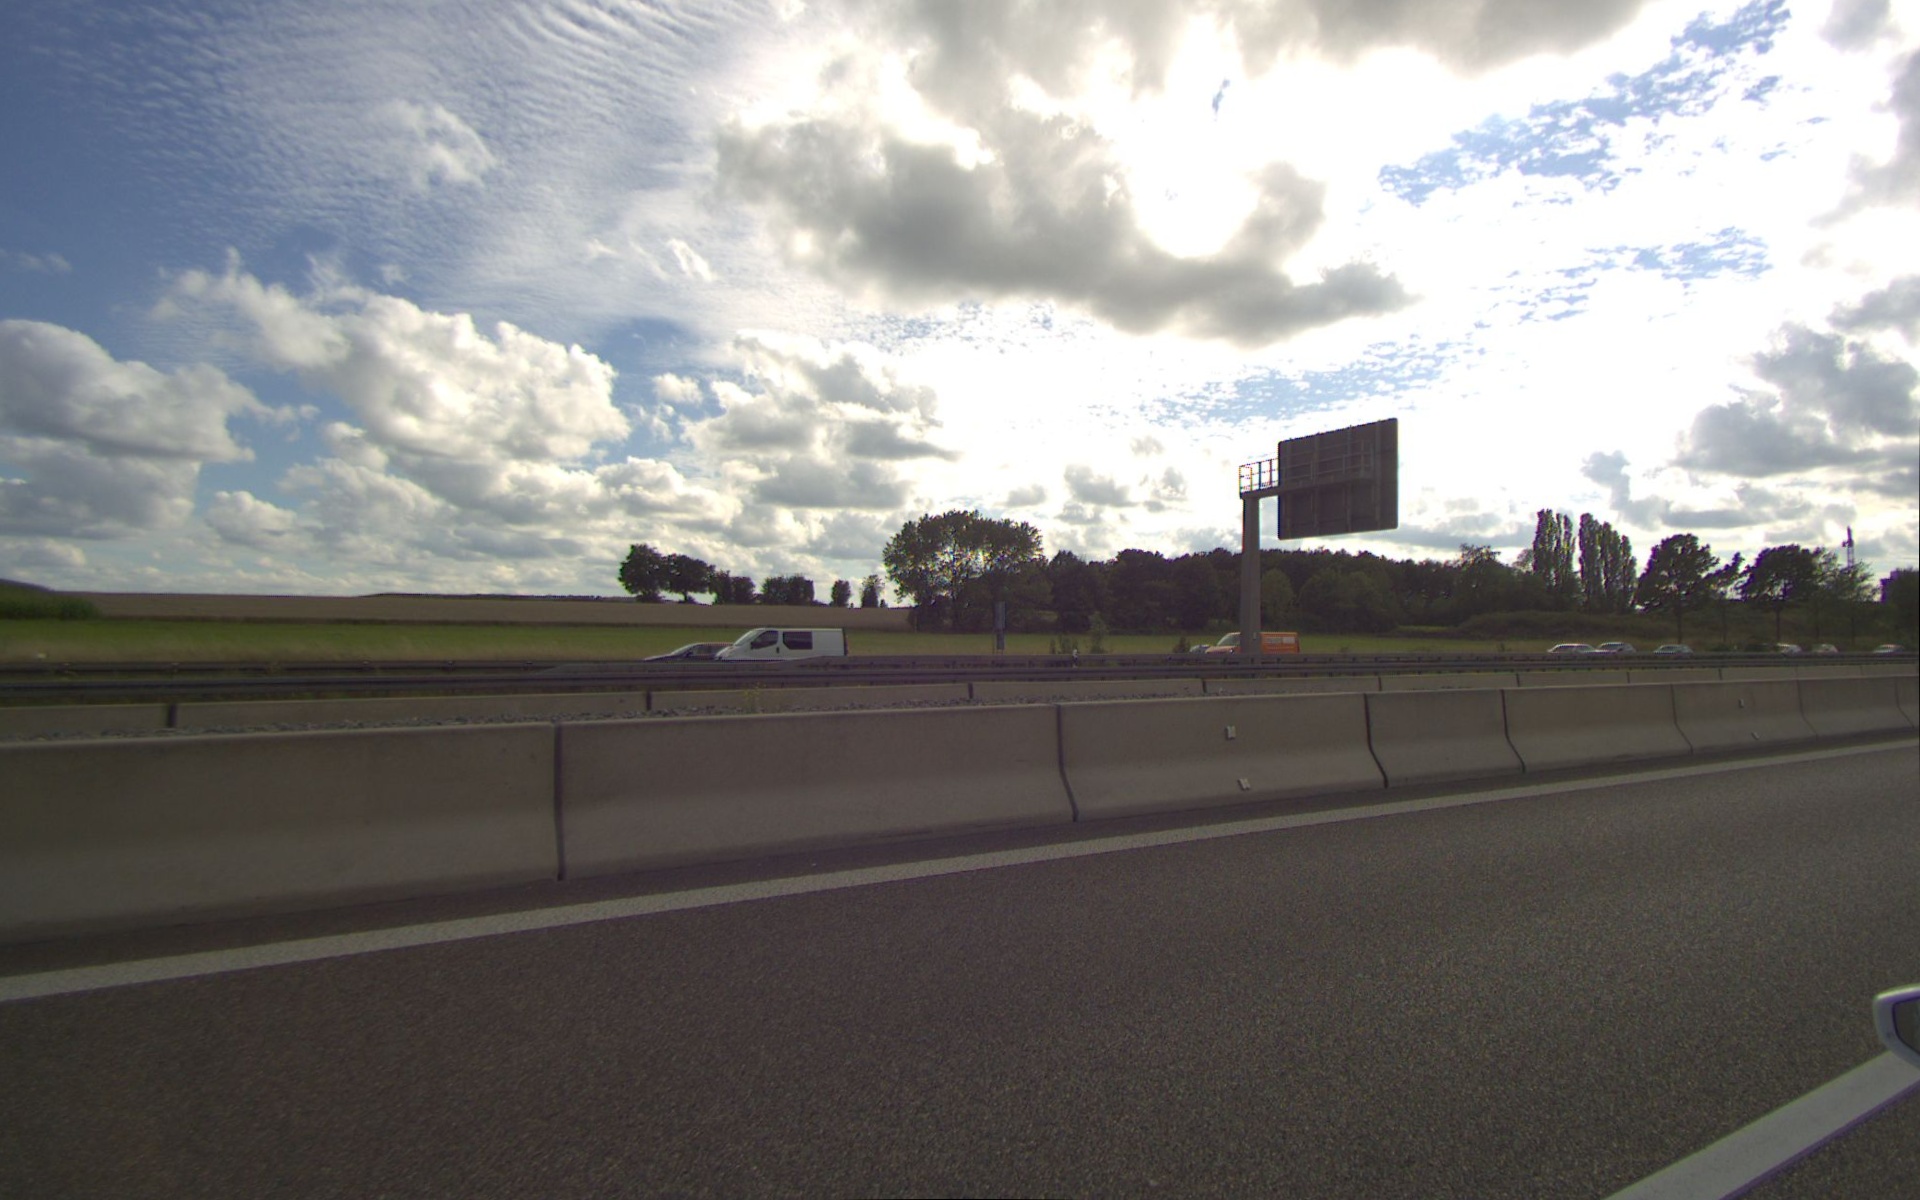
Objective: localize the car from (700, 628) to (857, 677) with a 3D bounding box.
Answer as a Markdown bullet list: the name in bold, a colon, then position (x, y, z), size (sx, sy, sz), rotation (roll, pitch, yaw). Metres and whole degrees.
- **car**: position (-6.866, 1.974, 38.292), size (5.571, 1.722, 1.983), rotation (2, -1, -32)

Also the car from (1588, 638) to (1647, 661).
- **car**: position (50.042, 3.741, 76.423), size (4.602, 1.653, 1.983), rotation (2, -1, -31)

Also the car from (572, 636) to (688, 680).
- **car**: position (-12.647, 2.197, 38.575), size (3.953, 1.576, 1.658), rotation (2, -1, -31)

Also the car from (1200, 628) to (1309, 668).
- **car**: position (13.755, 2.231, 46.881), size (5.077, 1.722, 1.984), rotation (2, -1, -31)
